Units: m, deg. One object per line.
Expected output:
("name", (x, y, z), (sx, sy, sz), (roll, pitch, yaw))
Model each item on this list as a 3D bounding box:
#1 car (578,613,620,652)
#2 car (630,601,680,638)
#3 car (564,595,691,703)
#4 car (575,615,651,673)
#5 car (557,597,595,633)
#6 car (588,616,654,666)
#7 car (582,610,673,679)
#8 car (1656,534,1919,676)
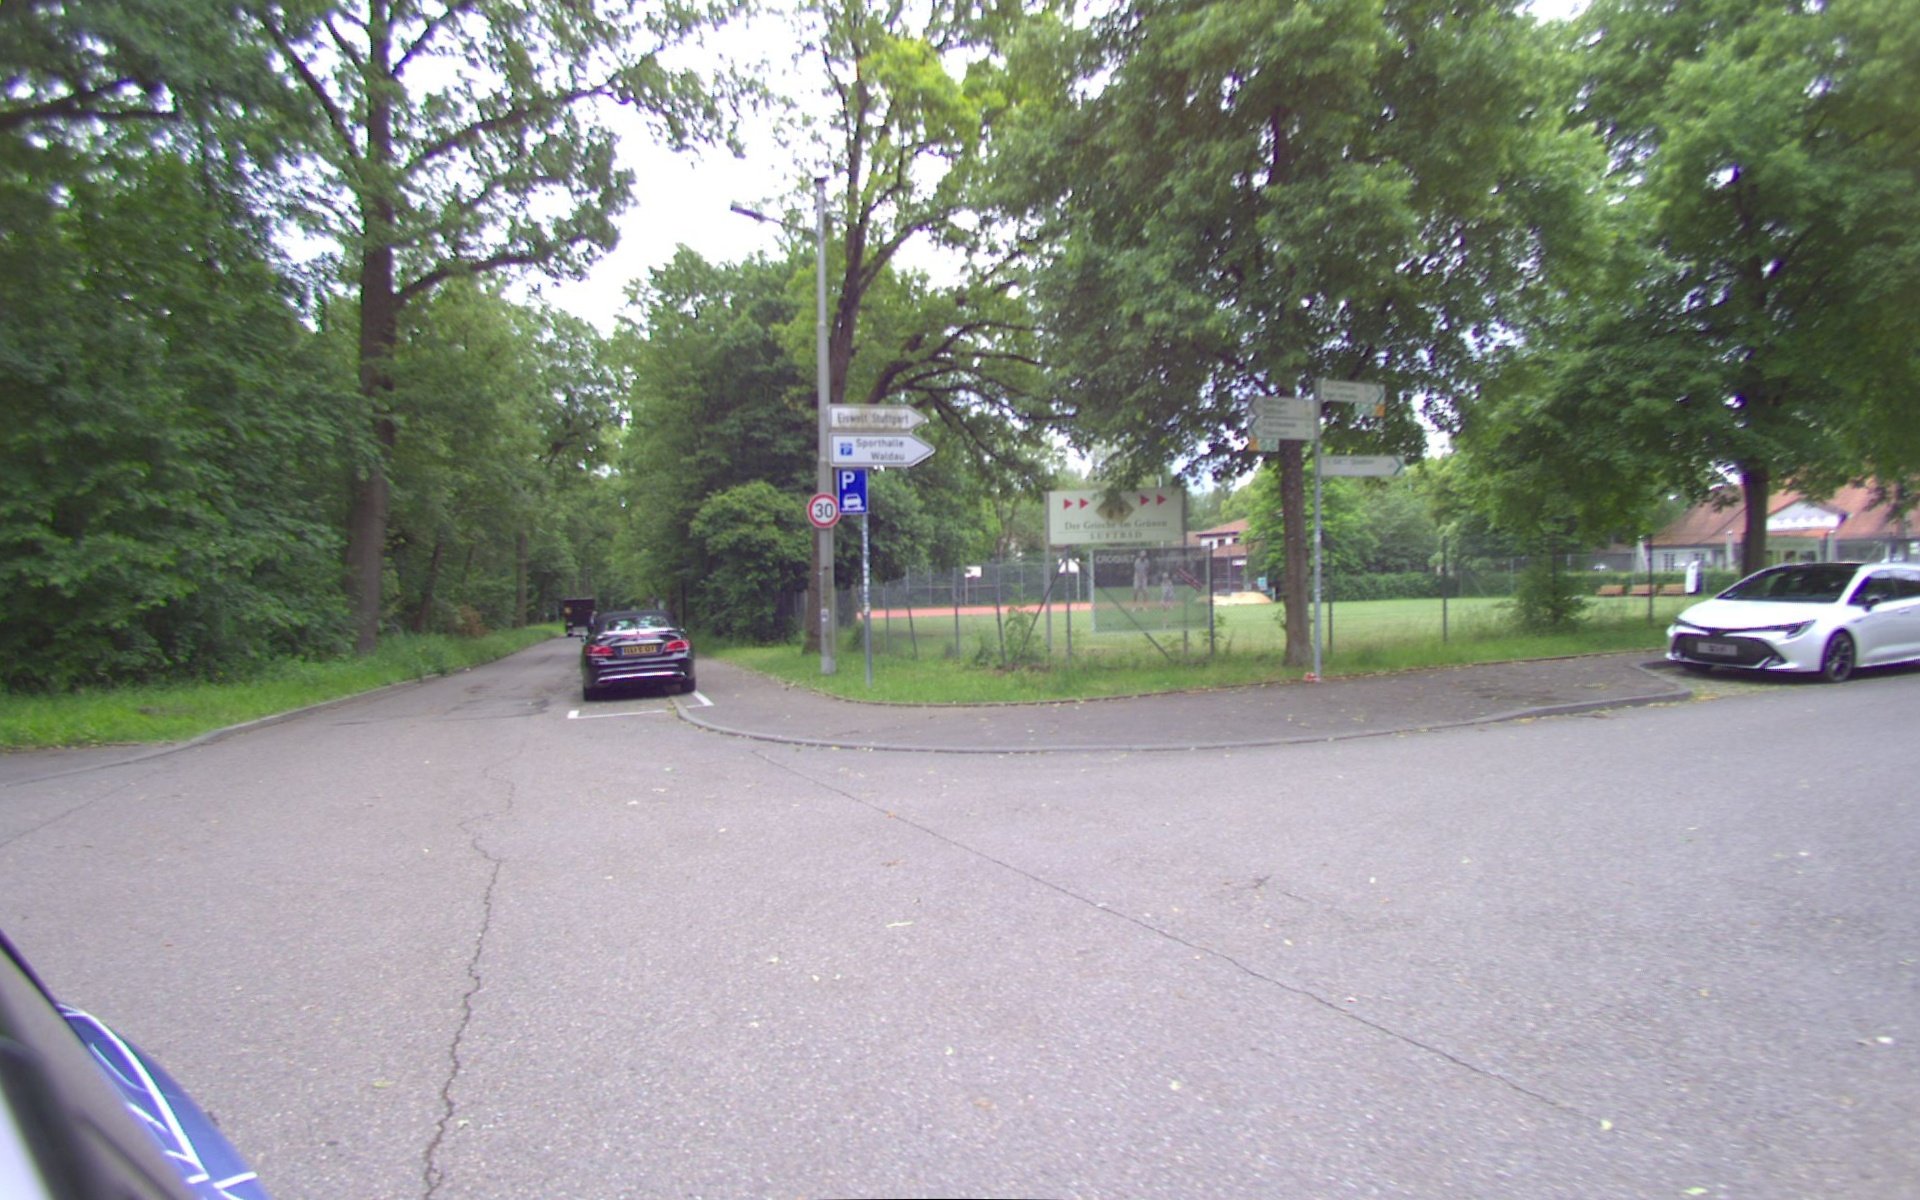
("car", (-16.407, 1.436, 45.930), (1.593, 1.604, 3.531), (-3, 0, -22))
("car", (-14.493, 0.900, 47.950), (1.925, 1.631, 3.651), (-1, 0, -22))
("car", (-5.727, 0.801, 17.377), (1.742, 1.506, 4.340), (-3, -1, -19))
("car", (-9.541, 1.197, 27.666), (1.662, 1.369, 3.880), (-3, -1, -22))
("car", (-29.033, 1.104, 76.554), (2.537, 2.553, 4.951), (-3, 1, -21))
("car", (-10.694, 1.269, 31.795), (1.662, 1.369, 3.642), (-3, -1, -22))
("car", (-7.864, 1.022, 23.705), (1.662, 1.369, 4.234), (-3, -1, -22))
("car", (11.302, -0.022, 13.182), (4.143, 1.608, 1.777), (-2, 2, -24))
